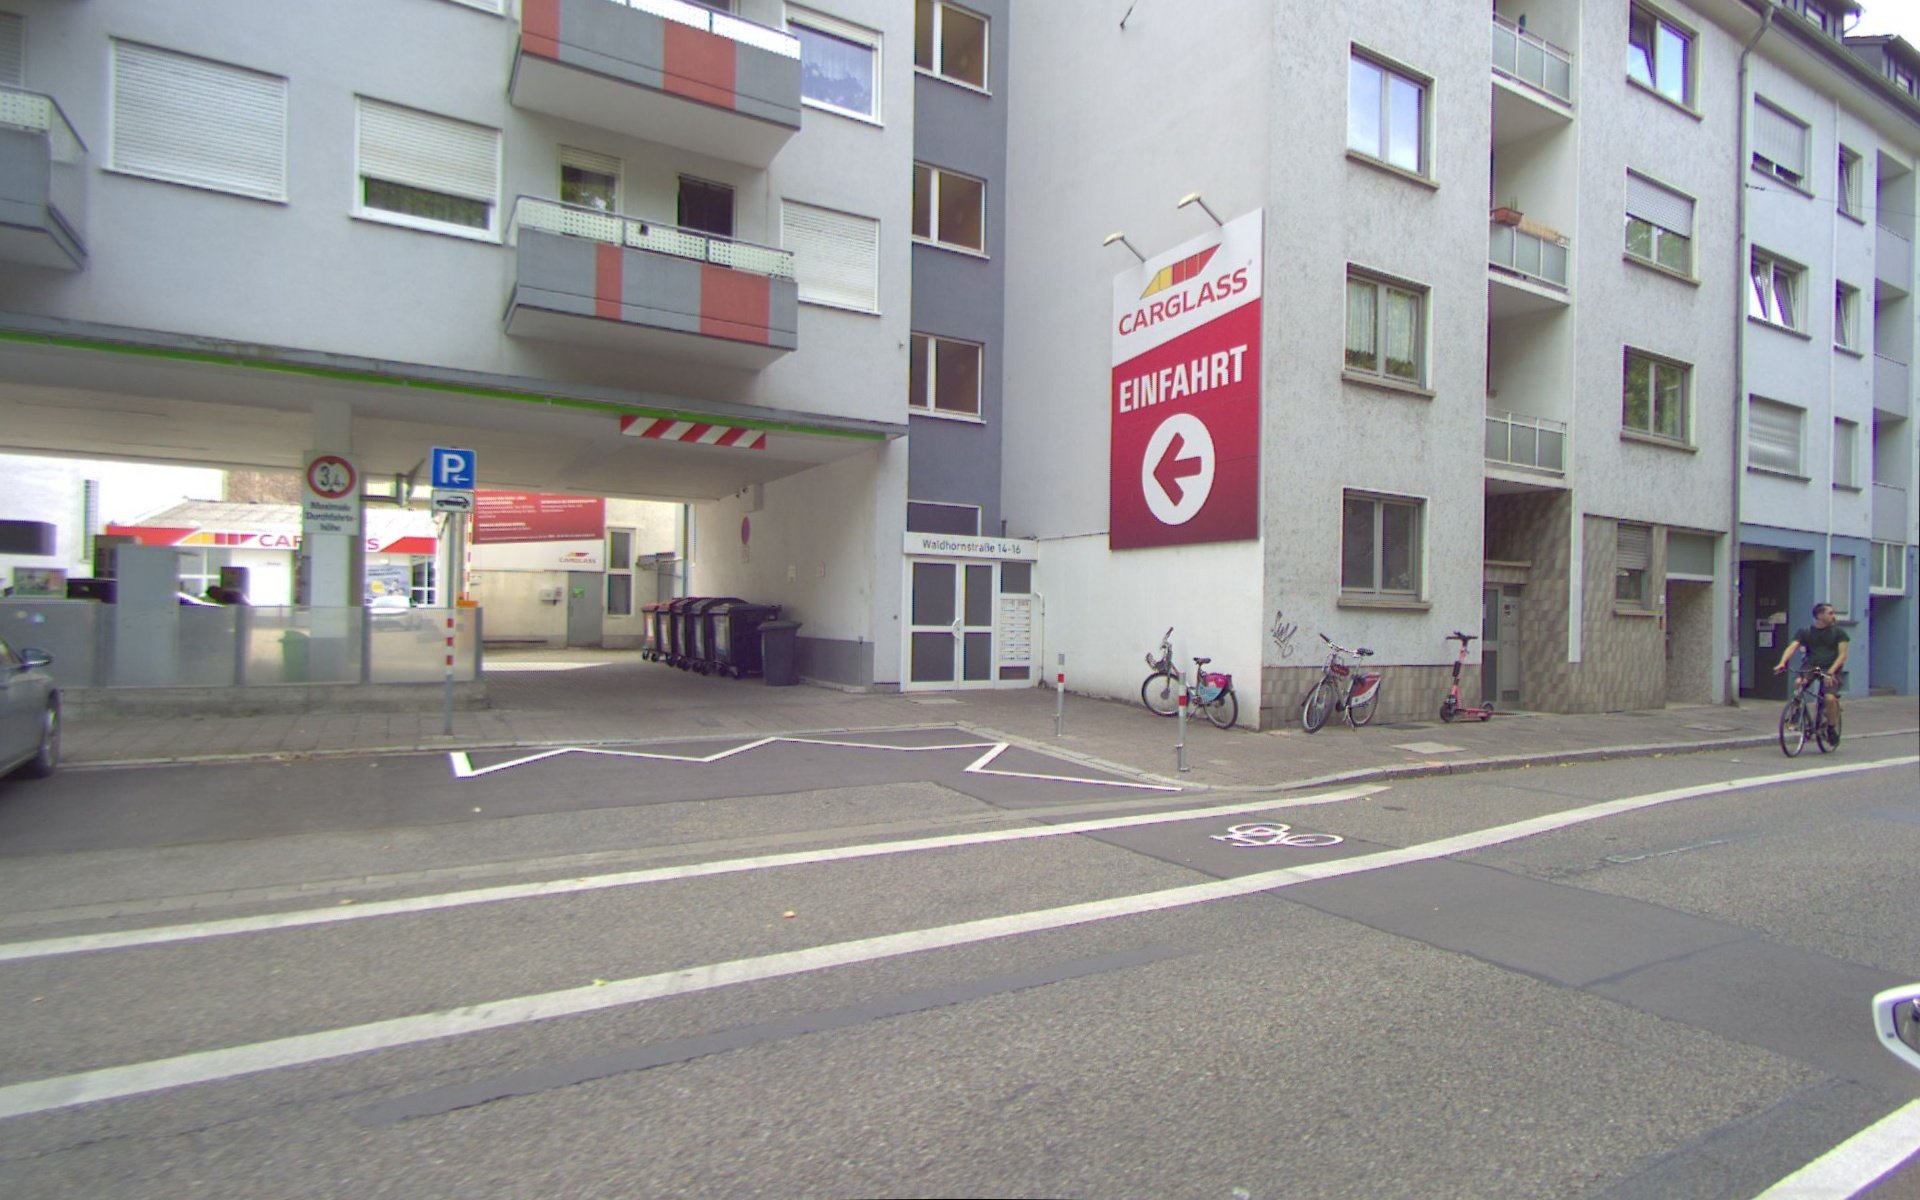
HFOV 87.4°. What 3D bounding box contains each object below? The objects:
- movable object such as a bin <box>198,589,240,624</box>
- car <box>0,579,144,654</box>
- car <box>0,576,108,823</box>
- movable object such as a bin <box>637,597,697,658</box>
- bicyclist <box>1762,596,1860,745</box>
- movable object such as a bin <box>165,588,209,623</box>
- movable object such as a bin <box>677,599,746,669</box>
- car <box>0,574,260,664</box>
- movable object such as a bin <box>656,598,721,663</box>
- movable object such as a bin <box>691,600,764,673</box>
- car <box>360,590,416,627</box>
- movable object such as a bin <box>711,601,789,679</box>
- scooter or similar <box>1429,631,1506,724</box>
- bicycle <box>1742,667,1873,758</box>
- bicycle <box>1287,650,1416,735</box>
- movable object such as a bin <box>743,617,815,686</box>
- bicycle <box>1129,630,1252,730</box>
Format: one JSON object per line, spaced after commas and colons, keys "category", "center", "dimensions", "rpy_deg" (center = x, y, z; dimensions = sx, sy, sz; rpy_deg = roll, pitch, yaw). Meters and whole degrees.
{"category": "movable object such as a bin", "center": [-32.338, 0.275, 43.854], "dimensions": [1.146, 1.462, 1.244], "rpy_deg": [1, 0, -19]}
{"category": "car", "center": [-20.412, 0.332, 21.471], "dimensions": [4.316, 1.542, 1.830], "rpy_deg": [1, 0, -30]}
{"category": "car", "center": [-7.238, 0.640, 6.505], "dimensions": [1.815, 1.534, 4.132], "rpy_deg": [1, 2, -29]}
{"category": "movable object such as a bin", "center": [-6.829, 0.641, 23.372], "dimensions": [1.162, 1.370, 1.039], "rpy_deg": [1, -1, -27]}
{"category": "bicyclist", "center": [10.888, 0.884, 12.850], "dimensions": [1.033, 1.834, 0.649], "rpy_deg": [2, -2, -30]}
{"category": "movable object such as a bin", "center": [-33.470, 0.238, 43.499], "dimensions": [1.146, 1.462, 1.244], "rpy_deg": [1, 0, -19]}
{"category": "movable object such as a bin", "center": [-5.091, 0.684, 20.530], "dimensions": [1.162, 1.370, 1.039], "rpy_deg": [1, -1, -27]}
{"category": "car", "center": [-13.669, 0.302, 16.009], "dimensions": [3.954, 1.315, 1.898], "rpy_deg": [1, -1, -31]}
{"category": "movable object such as a bin", "center": [-5.901, 0.664, 21.830], "dimensions": [1.162, 1.370, 1.039], "rpy_deg": [1, -1, -27]}
{"category": "movable object such as a bin", "center": [-4.510, 0.699, 19.472], "dimensions": [1.162, 1.370, 1.039], "rpy_deg": [1, -1, -27]}
{"category": "car", "center": [-23.953, 0.351, 42.020], "dimensions": [1.715, 1.488, 3.894], "rpy_deg": [1, -1, -34]}
{"category": "movable object such as a bin", "center": [-3.839, 0.717, 18.344], "dimensions": [1.162, 1.370, 1.039], "rpy_deg": [1, -1, -27]}
{"category": "scooter or similar", "center": [7.100, 1.066, 14.047], "dimensions": [1.188, 1.238, 0.348], "rpy_deg": [1, 1, -30]}
{"category": "bicycle", "center": [10.823, 1.395, 12.804], "dimensions": [2.053, 1.028, 0.643], "rpy_deg": [1, -1, -31]}
{"category": "bicycle", "center": [4.887, 1.120, 12.526], "dimensions": [1.643, 0.963, 0.594], "rpy_deg": [1, 0, -30]}
{"category": "movable object such as a bin", "center": [-3.073, 0.854, 17.031], "dimensions": [0.962, 1.121, 0.941], "rpy_deg": [1, -1, -27]}
{"category": "bicycle", "center": [2.925, 0.988, 12.929], "dimensions": [0.447, 1.132, 1.763], "rpy_deg": [1, 0, -29]}
